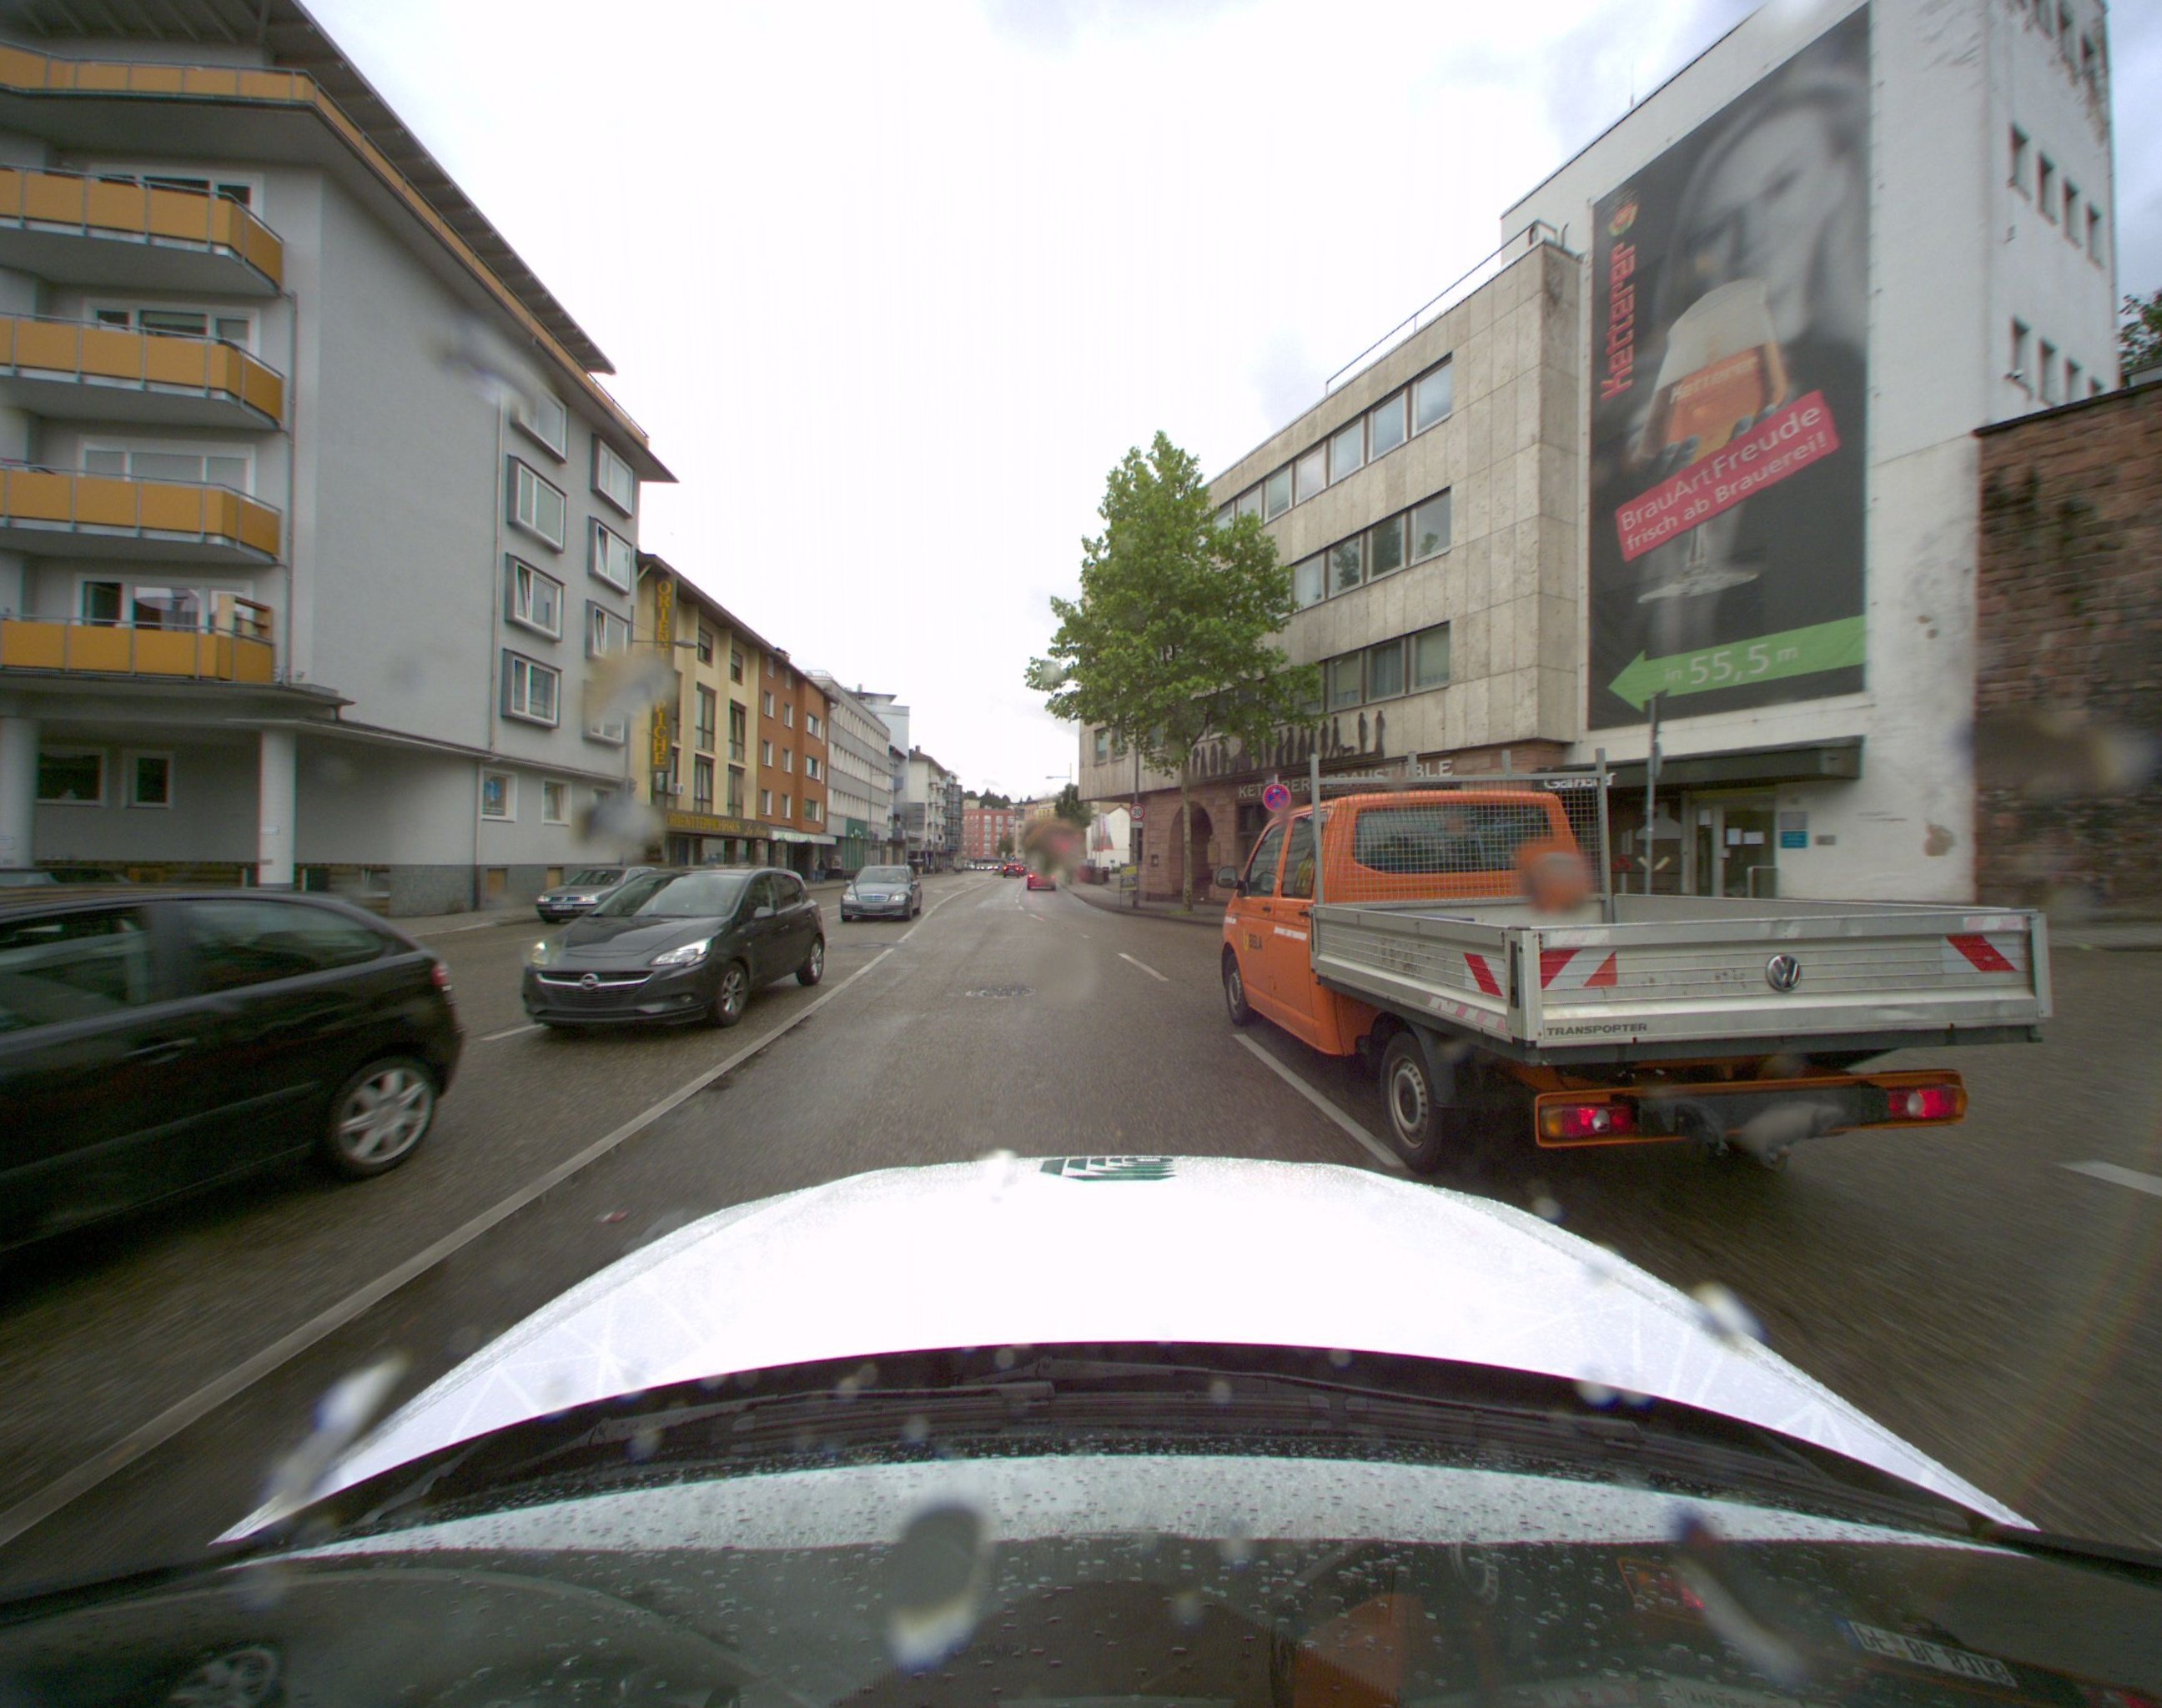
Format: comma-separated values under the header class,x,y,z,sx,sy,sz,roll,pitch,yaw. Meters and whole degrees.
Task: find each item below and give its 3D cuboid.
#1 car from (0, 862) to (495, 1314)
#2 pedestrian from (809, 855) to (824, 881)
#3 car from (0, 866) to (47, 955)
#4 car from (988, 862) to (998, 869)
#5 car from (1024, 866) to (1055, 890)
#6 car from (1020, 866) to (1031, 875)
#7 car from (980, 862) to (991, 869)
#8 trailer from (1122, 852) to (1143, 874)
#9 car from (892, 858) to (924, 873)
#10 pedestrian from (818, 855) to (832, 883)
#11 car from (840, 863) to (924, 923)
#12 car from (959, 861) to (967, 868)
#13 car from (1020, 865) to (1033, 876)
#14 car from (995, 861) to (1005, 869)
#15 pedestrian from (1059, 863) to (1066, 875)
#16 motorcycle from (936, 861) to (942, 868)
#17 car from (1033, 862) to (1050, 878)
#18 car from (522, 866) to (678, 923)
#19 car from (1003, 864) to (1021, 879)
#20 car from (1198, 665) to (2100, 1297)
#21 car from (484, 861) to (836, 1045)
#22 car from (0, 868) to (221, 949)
class,x,y,z,sx,sy,sz,roll,pitch,yaw
car,-4.226,0.777,2.784,1.549,1.398,3.731,-1,1,4
pedestrian,-17.629,0.952,54.232,0.629,1.675,0.907,5,-1,-4
car,-19.253,0.985,12.775,3.748,1.421,1.636,-2,0,-3
car,-20.118,2.639,186.052,1.721,1.423,4.149,-2,-1,-11
car,-2.743,1.544,53.365,1.787,1.403,4.624,1,-1,-5
car,-8.717,2.549,128.572,1.638,1.381,3.343,-1,-1,-4
car,-19.260,2.333,164.493,1.704,1.468,4.824,-2,-1,-2
trailer,6.592,1.121,104.732,2.121,2.716,5.389,-2,0,-1
car,-23.574,1.532,110.891,3.953,2.034,1.579,0,-1,-3
pedestrian,-17.054,1.015,54.216,0.573,1.788,0.826,5,-1,-3
car,-5.275,0.969,22.105,1.731,1.440,4.401,0,-1,-7
car,-27.288,2.438,188.480,1.457,1.430,3.354,3,0,-14
car,-7.120,2.121,106.329,1.638,1.381,3.343,-1,-1,-4
car,-16.413,2.230,164.905,1.716,1.423,4.160,-2,-1,-3
pedestrian,-2.584,2.107,114.524,0.786,1.755,0.874,-1,-1,10
motorcycle,-21.178,1.515,121.301,0.524,0.995,2.135,2,-1,-1
car,-4.786,1.961,98.652,1.825,1.805,3.717,2,0,-1
car,-12.520,1.025,21.543,1.724,1.366,4.107,0,-2,-2
car,-7.870,1.965,93.512,1.819,1.600,3.715,2,-1,-2
car,2.378,0.427,5.567,2.097,2.089,5.536,-2,0,-2
car,-3.981,0.814,8.546,1.639,1.453,3.988,0,0,-1
car,-18.849,1.010,15.256,3.617,1.338,1.493,-2,0,-6
